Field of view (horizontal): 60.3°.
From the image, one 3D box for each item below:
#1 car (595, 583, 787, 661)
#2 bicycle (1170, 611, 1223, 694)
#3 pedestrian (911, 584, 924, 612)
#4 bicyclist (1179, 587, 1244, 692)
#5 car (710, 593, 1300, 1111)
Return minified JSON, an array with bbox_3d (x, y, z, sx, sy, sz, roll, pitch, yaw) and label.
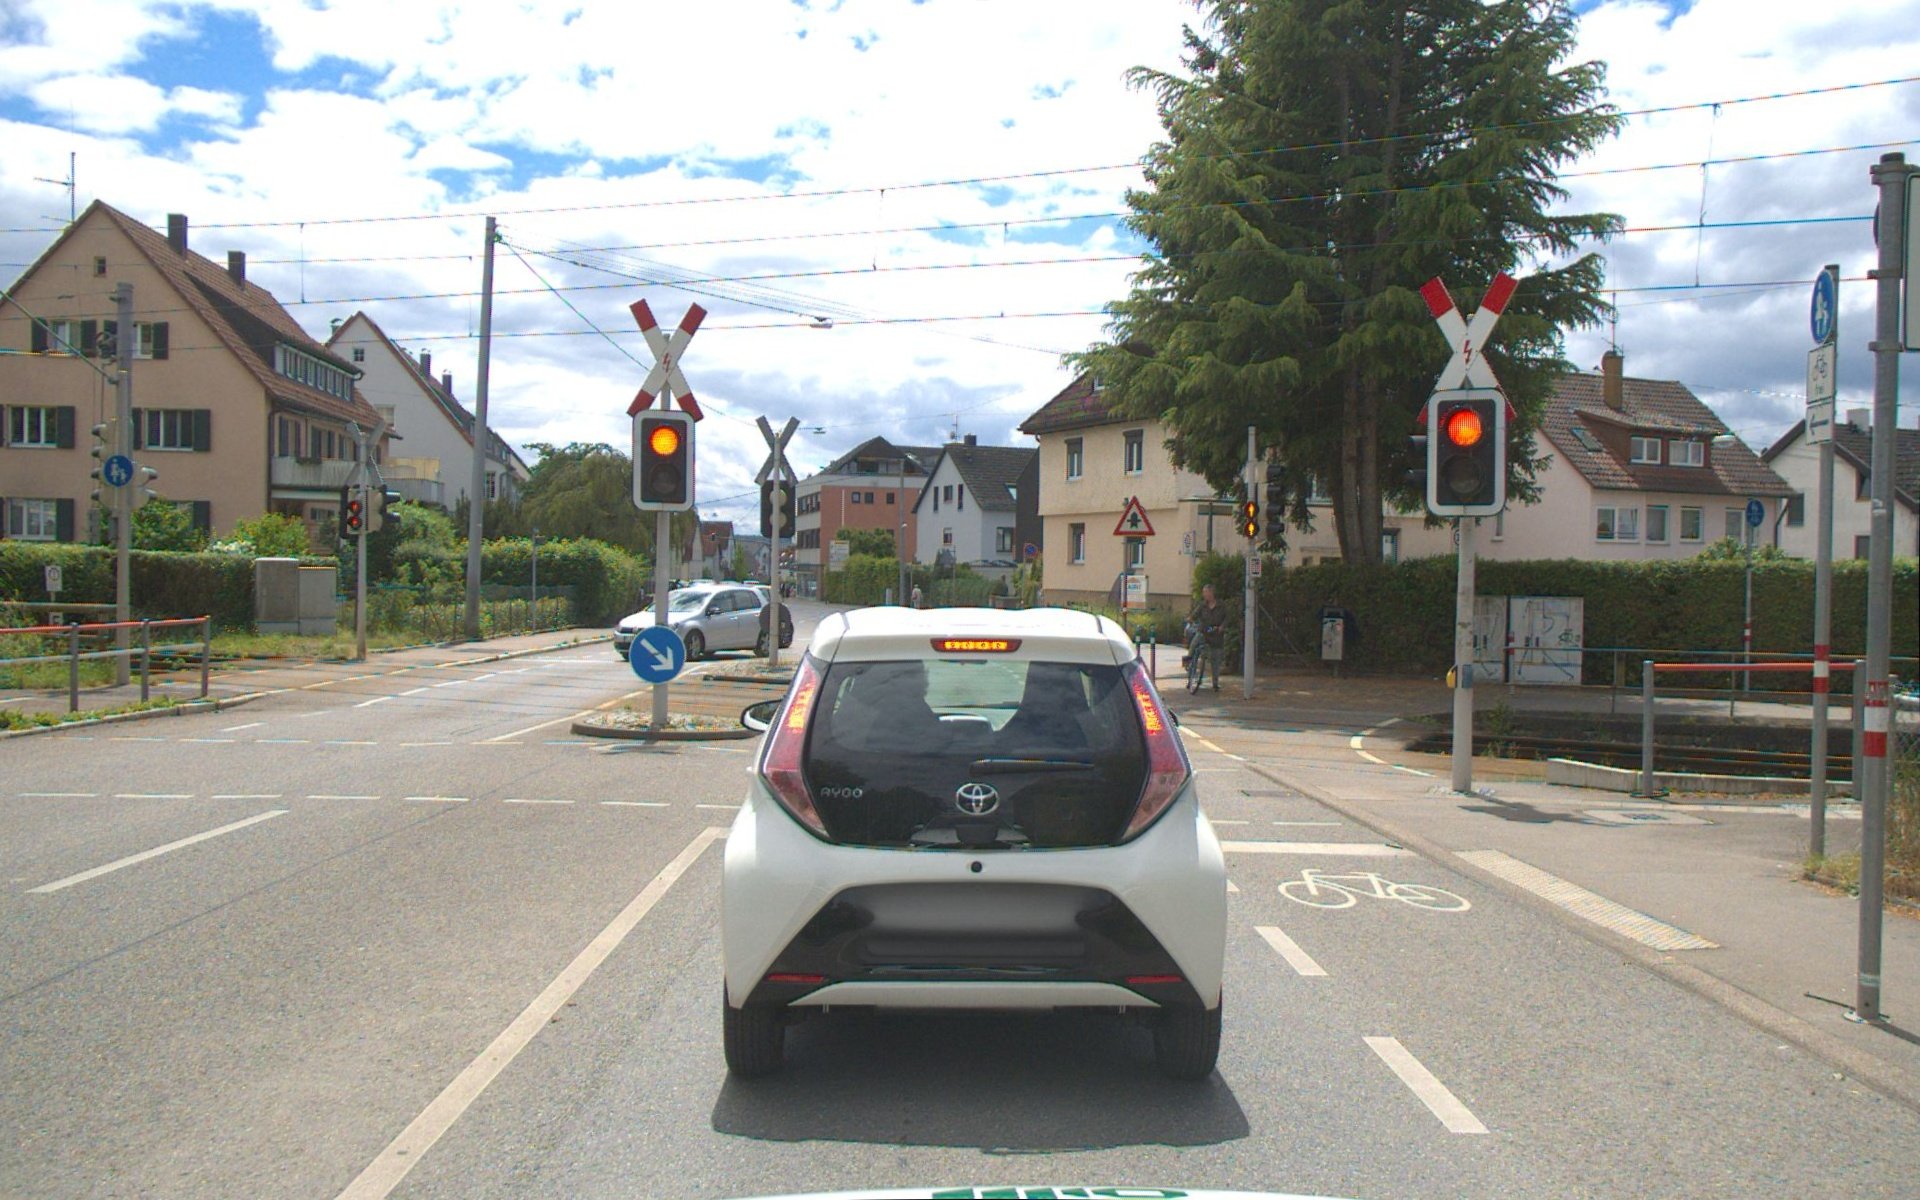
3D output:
[{"bbox_3d":[-5.516,0.452,34.419,1.868,1.466,4.093,2,0,27],"label":"car"},{"bbox_3d":[3.734,0.814,26.203,0.448,1.192,1.477,-2,3,-6],"label":"bicycle"},{"bbox_3d":[-2.405,-0.114,93.577,0.711,1.604,0.803,2,0,-1],"label":"pedestrian"},{"bbox_3d":[3.976,0.610,26.188,0.825,1.580,0.755,-2,3,-7],"label":"bicyclist"},{"bbox_3d":[0.011,0.721,6.611,1.687,1.467,3.705,1,0,-4],"label":"car"}]
